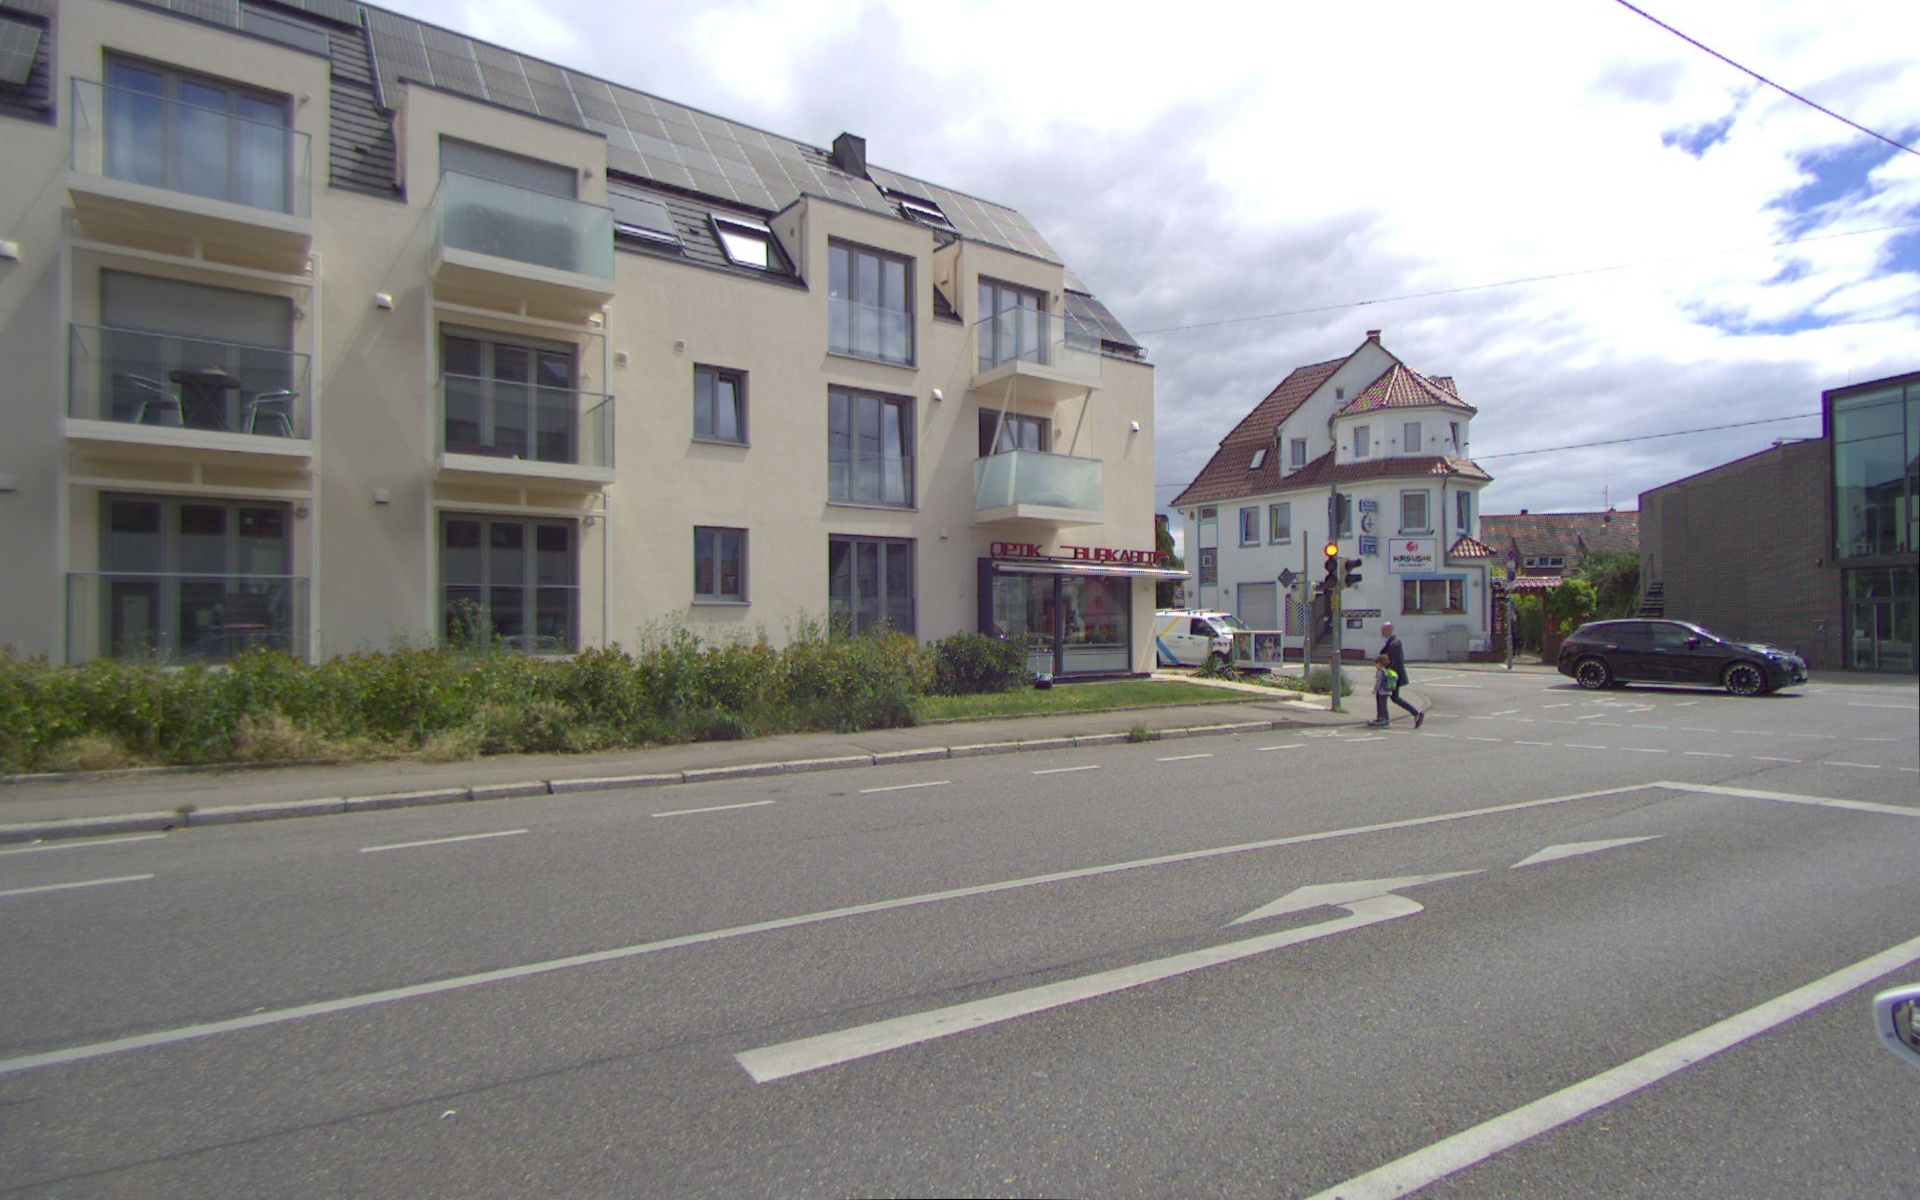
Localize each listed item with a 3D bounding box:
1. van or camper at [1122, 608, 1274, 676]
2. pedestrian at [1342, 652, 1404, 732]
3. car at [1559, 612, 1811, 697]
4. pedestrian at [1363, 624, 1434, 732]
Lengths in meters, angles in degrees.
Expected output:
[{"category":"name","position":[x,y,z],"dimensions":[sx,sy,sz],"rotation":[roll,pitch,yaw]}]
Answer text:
[{"category":"van or camper","position":[8.330,1.423,35.560],"dimensions":[1.983,2.105,5.077],"rotation":[1,0,-38]},{"category":"pedestrian","position":[6.791,1.493,16.517],"dimensions":[0.640,1.238,0.728],"rotation":[1,-1,-37]},{"category":"car","position":[17.002,1.218,23.755],"dimensions":[1.982,1.766,4.466],"rotation":[-1,-1,-38]},{"category":"pedestrian","position":[7.396,1.283,16.939],"dimensions":[0.810,1.744,0.816],"rotation":[1,-1,-36]}]
